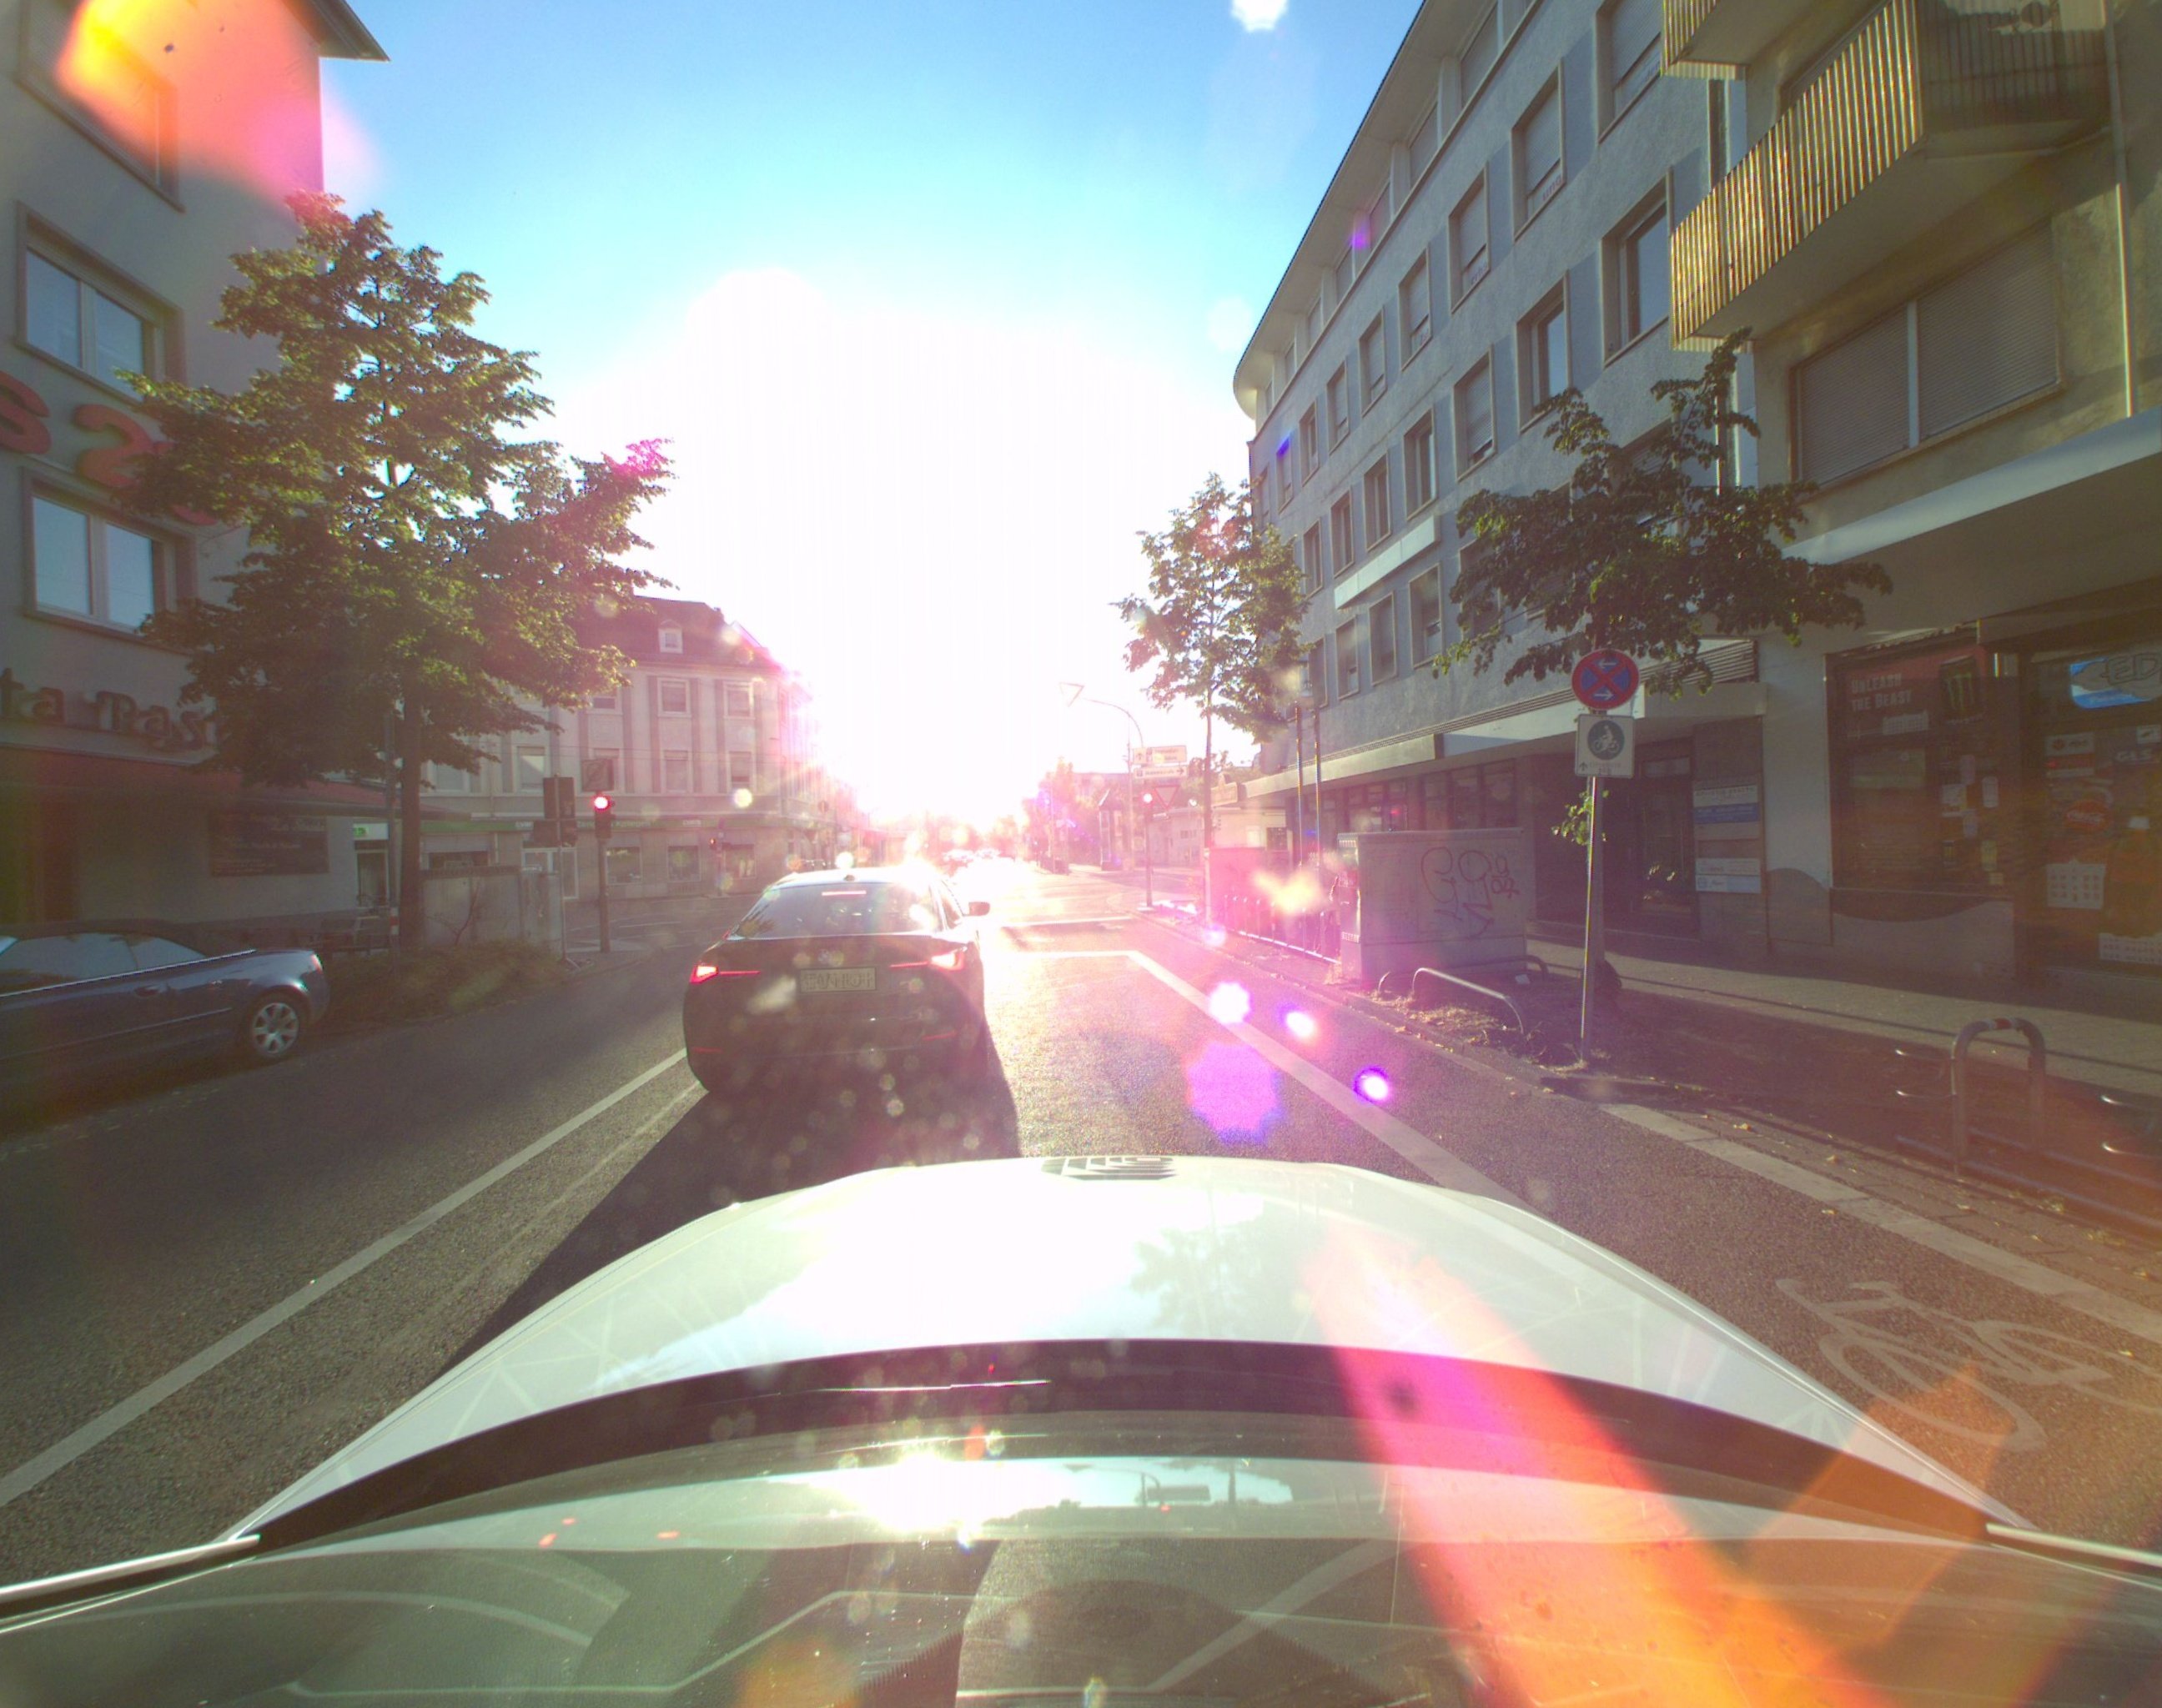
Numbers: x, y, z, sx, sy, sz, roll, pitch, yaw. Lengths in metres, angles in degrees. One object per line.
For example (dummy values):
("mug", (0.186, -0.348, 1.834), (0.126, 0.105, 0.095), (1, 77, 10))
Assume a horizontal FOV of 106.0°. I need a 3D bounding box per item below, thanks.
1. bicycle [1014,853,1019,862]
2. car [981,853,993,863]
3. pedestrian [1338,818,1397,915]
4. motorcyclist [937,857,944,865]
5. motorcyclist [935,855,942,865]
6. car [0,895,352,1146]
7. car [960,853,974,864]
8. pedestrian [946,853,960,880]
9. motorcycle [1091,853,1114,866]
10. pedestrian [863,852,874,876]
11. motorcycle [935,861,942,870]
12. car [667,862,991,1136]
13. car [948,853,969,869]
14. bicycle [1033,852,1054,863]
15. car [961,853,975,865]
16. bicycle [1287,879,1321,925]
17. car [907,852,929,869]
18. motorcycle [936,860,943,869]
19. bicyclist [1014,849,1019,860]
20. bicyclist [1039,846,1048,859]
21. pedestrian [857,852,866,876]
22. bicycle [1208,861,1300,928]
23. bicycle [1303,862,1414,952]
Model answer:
("bicycle", (-8.702, 0.480, 110.282), (0.549, 1.159, 2.138), (-1, -1, -7))
("car", (-15.327, 0.616, 133.291), (1.816, 1.519, 3.992), (-2, 0, -6))
("pedestrian", (5.669, 0.245, 16.142), (0.834, 1.841, 0.677), (-2, 0, -6))
("motorcyclist", (-14.941, 0.730, 86.906), (0.574, 0.915, 2.196), (0, 0, -6))
("motorcyclist", (-14.427, 0.614, 82.399), (0.574, 0.995, 0.701), (0, 0, -6))
("car", (-7.646, 1.159, 5.570), (1.721, 1.415, 4.270), (-4, 0, -7))
("car", (-17.333, 0.660, 123.874), (1.816, 1.519, 3.992), (-2, 0, -6))
("pedestrian", (-7.357, 0.697, 46.776), (0.734, 1.529, 0.470), (0, 0, -18))
("motorcycle", (1.802, 0.458, 68.013), (1.673, 0.939, 0.851), (-2, 0, -18))
("pedestrian", (-16.556, 0.776, 63.472), (0.675, 1.876, 0.616), (0, 0, -6))
("motorcycle", (-14.457, 1.146, 82.666), (0.574, 0.915, 2.196), (0, 0, -6))
("car", (-1.649, 0.810, 6.656), (1.735, 1.428, 4.213), (-1, 0, -7))
("car", (-12.180, 0.698, 80.997), (1.816, 1.519, 3.992), (-2, 0, -6))
("bicycle", (-4.069, 0.409, 89.287), (2.202, 1.202, 0.621), (0, 0, 4))
("car", (-15.740, 0.660, 113.625), (1.816, 1.519, 3.992), (-2, 0, -6))
("bicycle", (4.171, 0.880, 15.256), (0.249, 0.796, 1.113), (0, 0, -5))
("car", (-17.515, 0.683, 87.712), (1.816, 1.788, 3.992), (-2, 0, -6))
("motorcycle", (-15.111, 1.150, 86.966), (0.574, 0.915, 2.196), (0, 0, -6))
("bicyclist", (-8.722, 0.101, 110.366), (0.549, 1.481, 0.721), (-1, -1, -8))
("bicyclist", (-4.140, -0.167, 89.300), (0.879, 1.505, 0.613), (0, 0, 5))
("pedestrian", (-17.206, 0.781, 63.862), (0.642, 1.876, 0.630), (0, 0, -7))
("bicycle", (3.226, 0.741, 15.206), (1.610, 1.171, 0.318), (-2, 0, -5))
("bicycle", (3.886, 0.735, 11.432), (1.438, 1.220, 0.383), (0, 0, -5))
